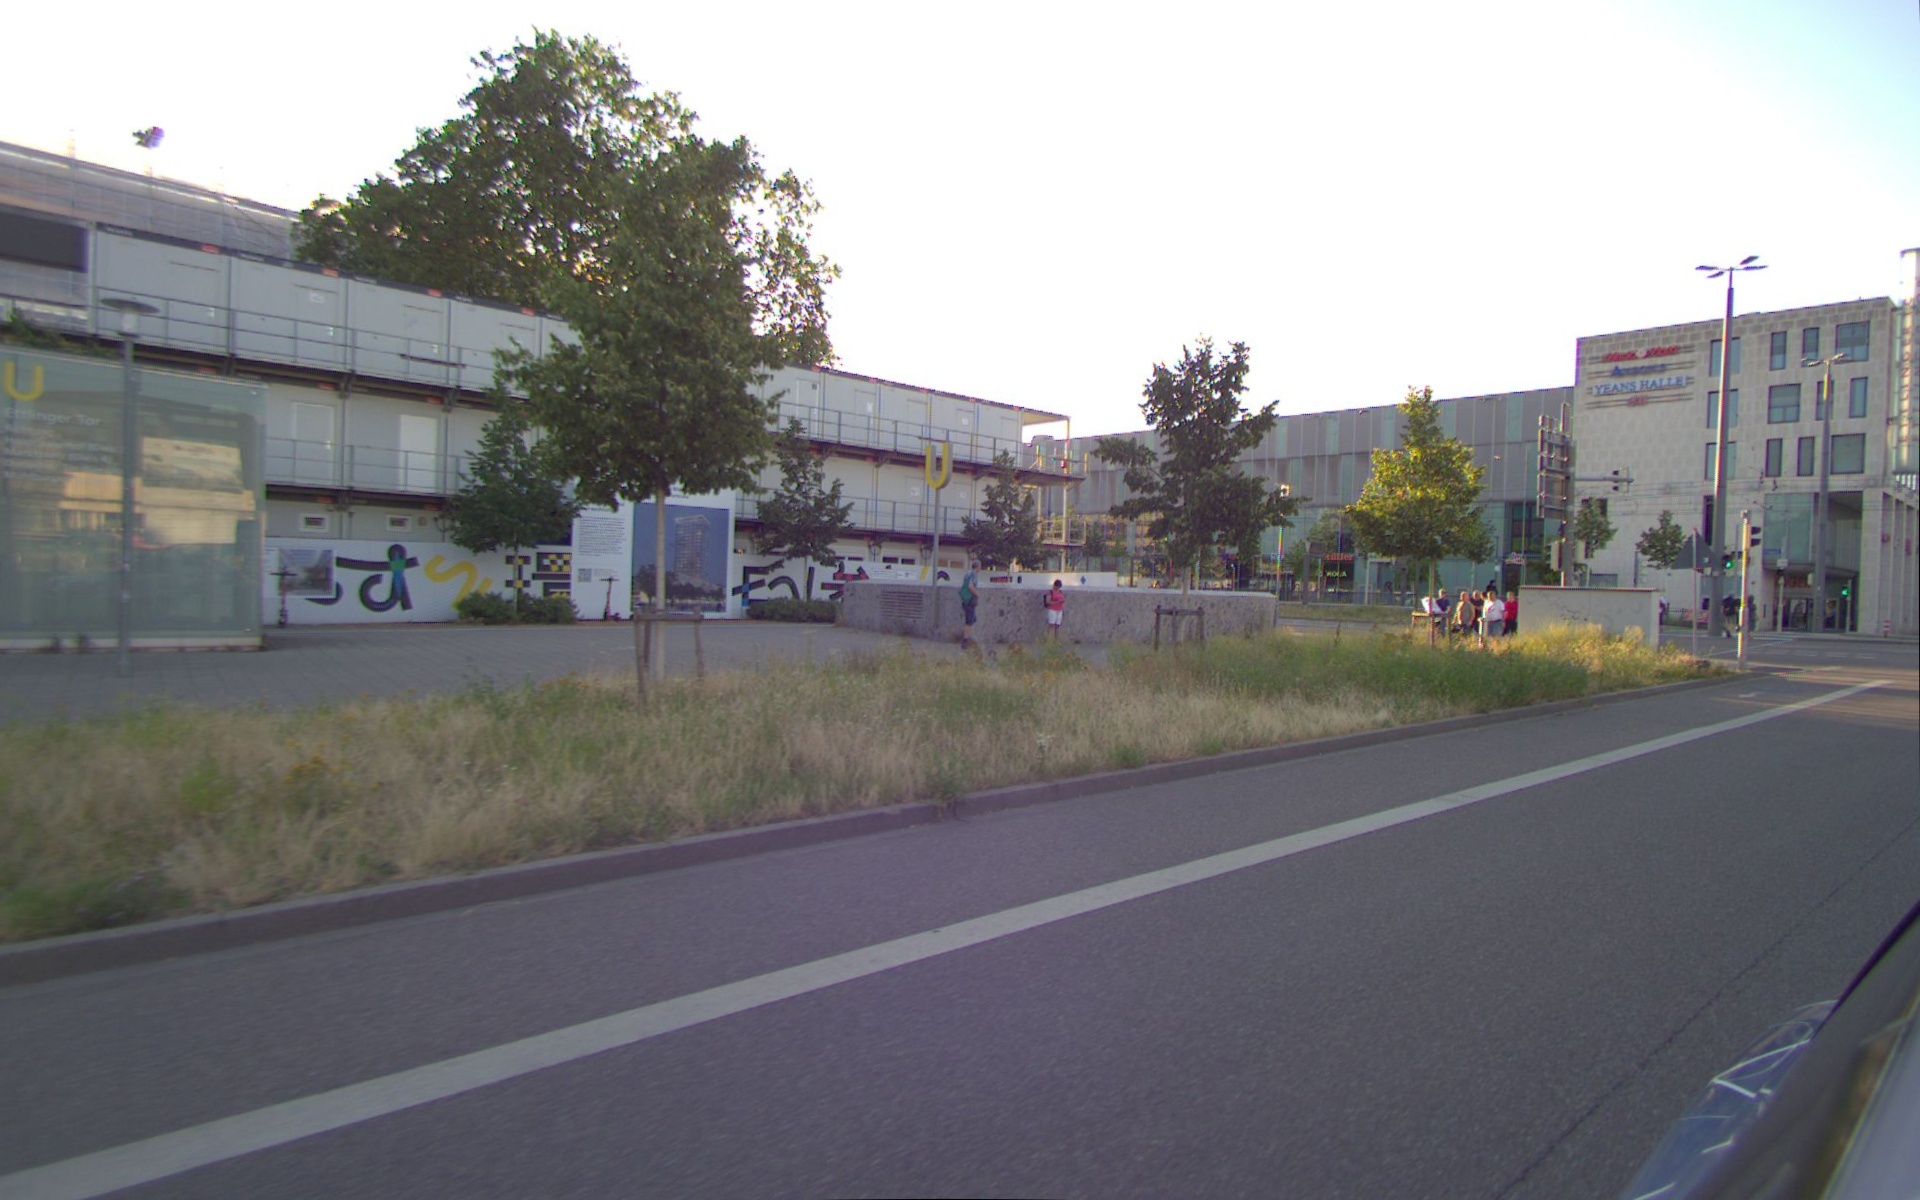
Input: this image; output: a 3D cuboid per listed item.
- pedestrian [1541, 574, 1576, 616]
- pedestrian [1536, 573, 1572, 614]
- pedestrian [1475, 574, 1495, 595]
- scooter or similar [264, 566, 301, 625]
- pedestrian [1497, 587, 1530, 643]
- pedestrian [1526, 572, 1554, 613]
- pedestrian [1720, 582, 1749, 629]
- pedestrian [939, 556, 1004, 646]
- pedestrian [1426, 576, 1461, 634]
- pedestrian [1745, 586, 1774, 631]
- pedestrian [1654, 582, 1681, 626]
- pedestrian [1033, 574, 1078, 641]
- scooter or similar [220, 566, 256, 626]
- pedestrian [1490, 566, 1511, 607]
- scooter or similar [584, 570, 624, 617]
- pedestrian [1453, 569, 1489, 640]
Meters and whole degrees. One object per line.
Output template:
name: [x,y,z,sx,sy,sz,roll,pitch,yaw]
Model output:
pedestrian: [27.752,-0.242,46.936,0.986,1.876,0.896,0,4,-28]
pedestrian: [27.002,-0.297,46.010,0.986,1.745,0.873,1,4,-13]
pedestrian: [24.942,-0.744,48.060,0.643,0.975,0.649,2,1,-43]
scooter or similar: [-14.912,-0.106,22.258,0.466,1.236,1.572,0,0,-41]
pedestrian: [17.557,0.487,32.110,0.856,1.734,0.643,2,0,-43]
pedestrian: [27.413,-0.354,47.818,0.882,1.876,0.723,3,4,17]
pedestrian: [30.085,0.207,39.314,0.855,1.752,0.644,1,1,-38]
pedestrian: [0.238,0.023,21.259,1.026,1.838,0.817,2,0,-34]
pedestrian: [14.714,0.149,30.805,0.749,1.734,0.644,2,0,-39]
pedestrian: [30.488,0.333,38.598,0.855,1.680,0.644,1,1,-38]
pedestrian: [29.896,0.157,42.764,0.855,1.835,0.644,0,2,-38]
pedestrian: [2.195,0.169,23.308,0.633,1.509,0.762,3,-1,-39]
scooter or similar: [-15.479,-0.093,21.686,0.466,1.236,1.572,0,0,-41]
pedestrian: [25.349,-0.638,47.453,0.575,1.877,0.604,1,1,-37]
scooter or similar: [-9.741,-0.189,27.649,0.466,1.235,1.572,1,1,-41]
pedestrian: [14.376,0.123,28.474,0.608,1.957,0.644,1,1,-38]
